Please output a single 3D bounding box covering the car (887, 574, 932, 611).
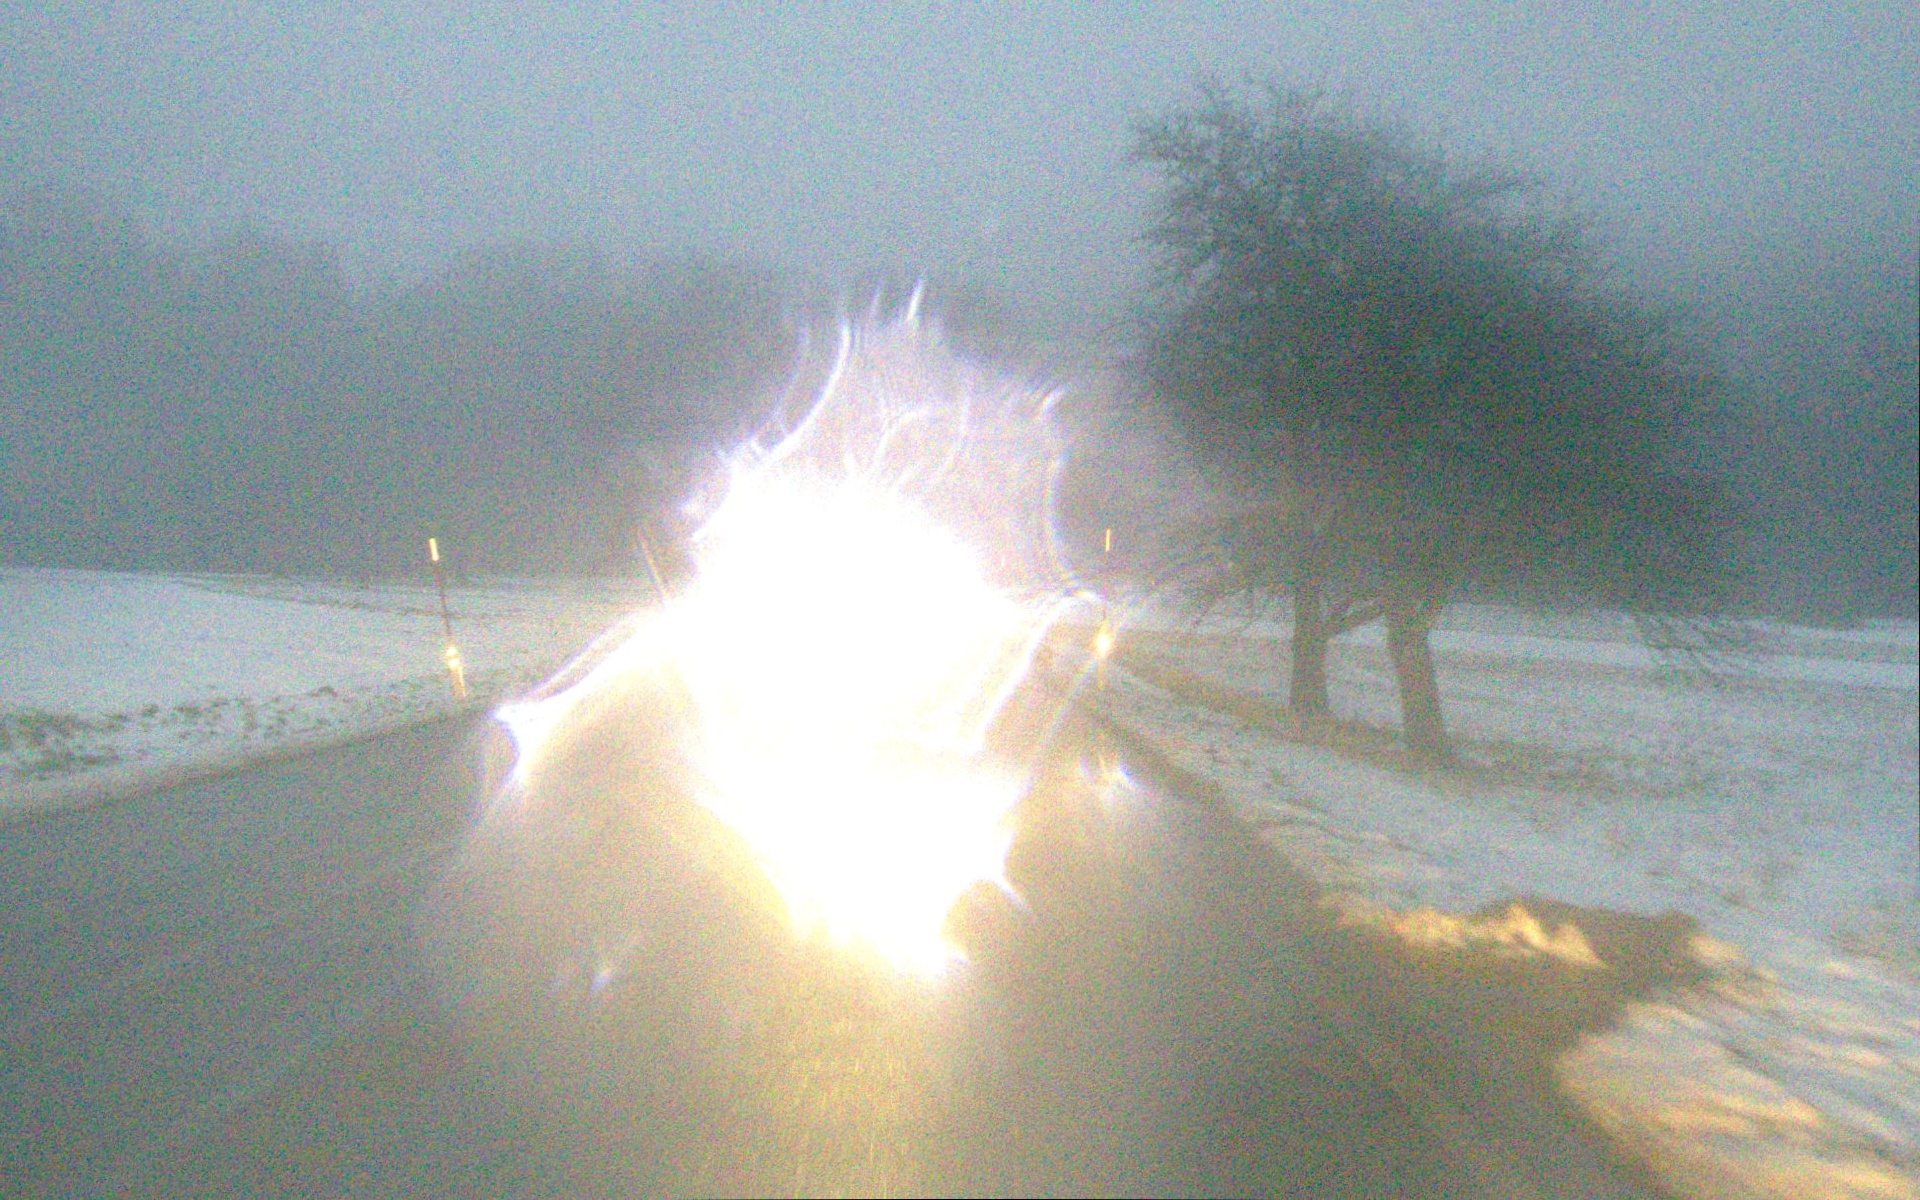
[{"bbox_3d":[-2.246,-0.337,153.928,1.692,1.546,3.855,1,2,4],"label":"car"}]
